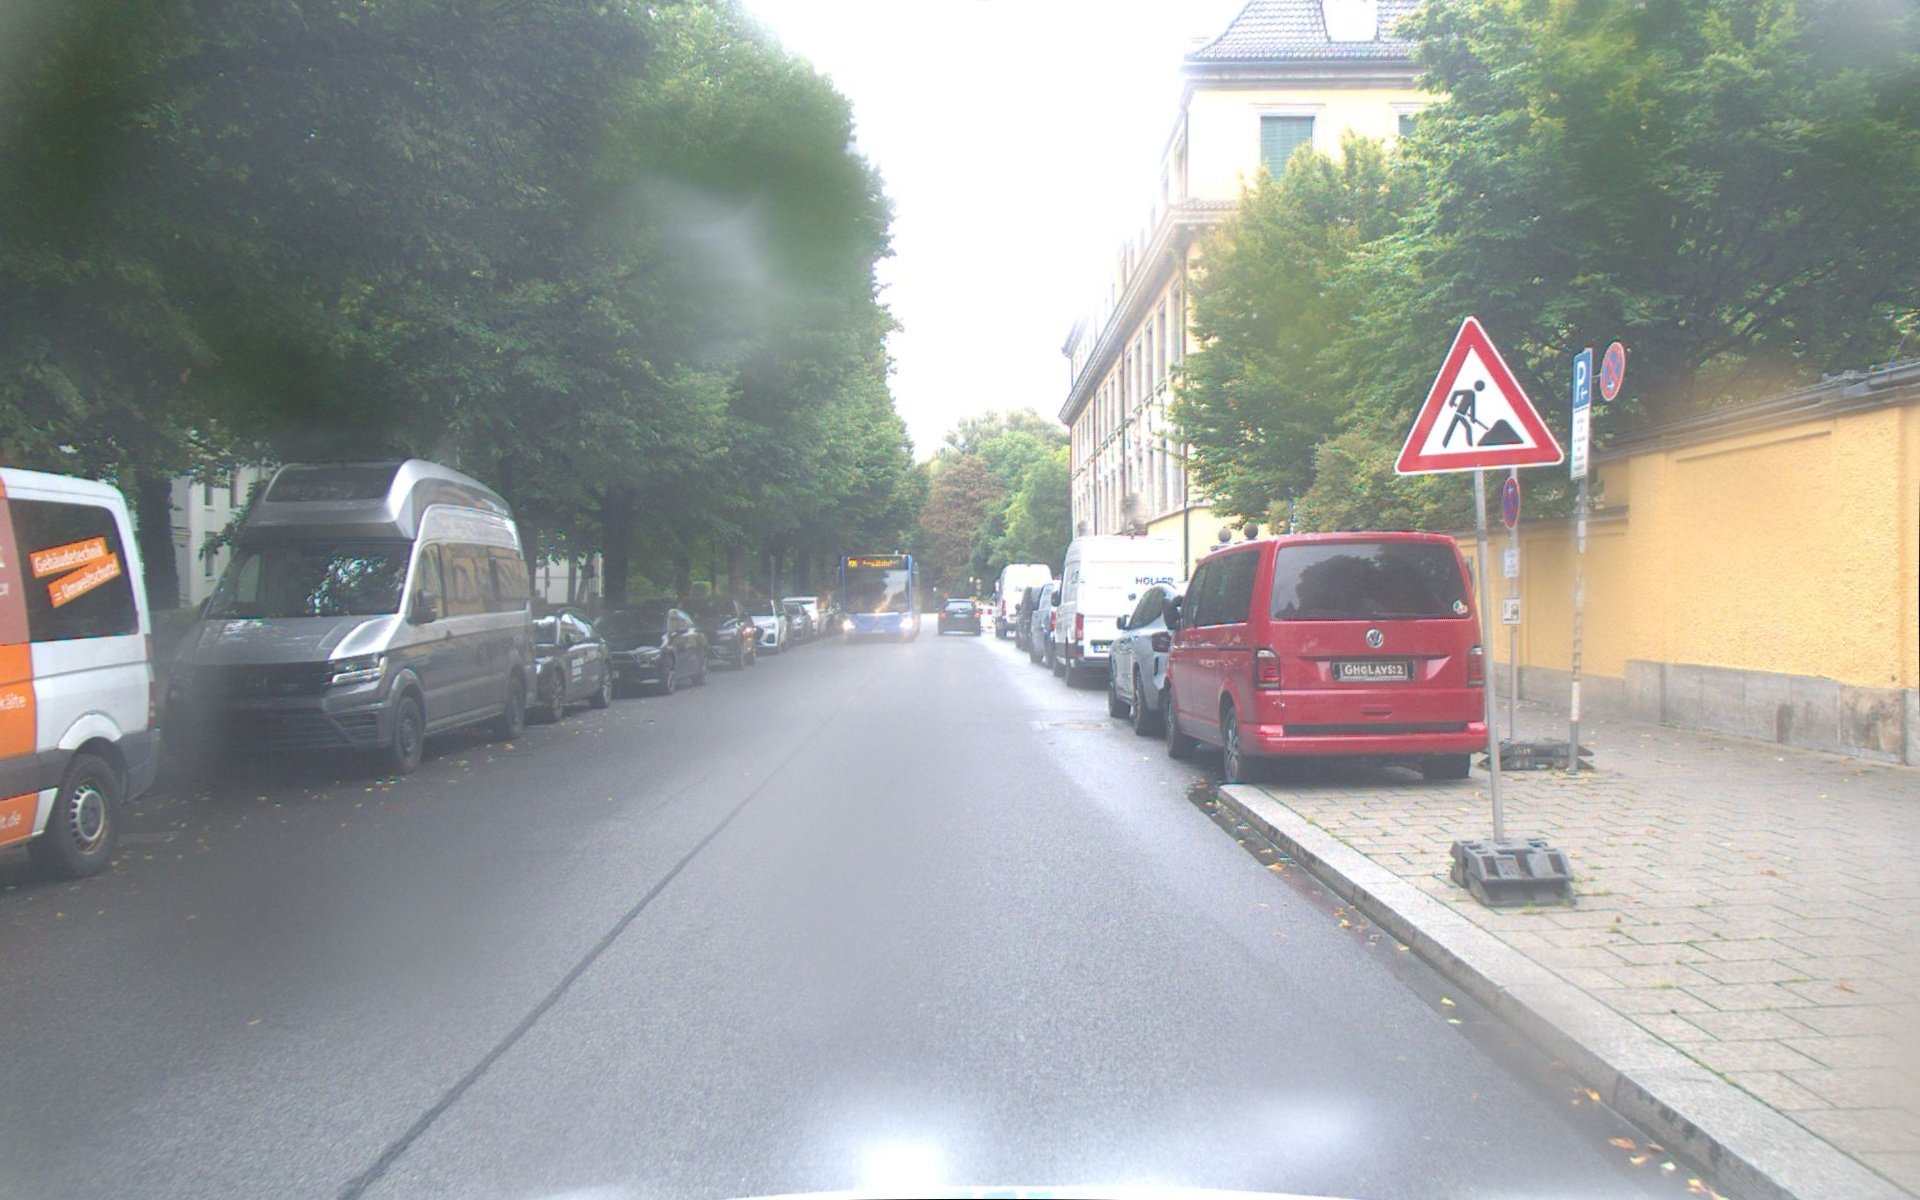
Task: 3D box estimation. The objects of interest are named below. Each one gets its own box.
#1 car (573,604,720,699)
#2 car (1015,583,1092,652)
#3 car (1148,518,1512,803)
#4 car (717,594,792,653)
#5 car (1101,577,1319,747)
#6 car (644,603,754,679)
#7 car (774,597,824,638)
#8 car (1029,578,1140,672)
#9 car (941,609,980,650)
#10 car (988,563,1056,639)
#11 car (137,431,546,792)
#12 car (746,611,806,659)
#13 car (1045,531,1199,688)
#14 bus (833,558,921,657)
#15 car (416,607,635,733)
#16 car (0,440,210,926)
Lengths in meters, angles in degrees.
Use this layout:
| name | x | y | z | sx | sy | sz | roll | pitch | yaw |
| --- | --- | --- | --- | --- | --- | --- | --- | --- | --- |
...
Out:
| name | x | y | z | sx | sy | sz | roll | pitch | yaw |
| --- | --- | --- | --- | --- | --- | --- | --- | --- | --- |
| car | -5.257 | 0.852 | 28.246 | 1.754 | 1.463 | 4.549 | -1 | -1 | -2 |
| car | 2.695 | 0.516 | 48.709 | 1.833 | 1.902 | 4.984 | -1 | 0 | -2 |
| car | 2.950 | 0.474 | 14.520 | 1.821 | 2.002 | 5.442 | -1 | -1 | -2 |
| car | -5.958 | 0.666 | 48.341 | 1.748 | 1.625 | 4.582 | -1 | 0 | -2 |
| car | 2.823 | 0.657 | 19.668 | 1.821 | 1.772 | 4.601 | 1 | 0 | -1 |
| car | -5.364 | 0.840 | 34.413 | 1.754 | 1.479 | 3.947 | -1 | -1 | -2 |
| car | -6.185 | 0.678 | 63.898 | 1.638 | 1.495 | 4.102 | -1 | 0 | -2 |
| car | 2.712 | 0.533 | 37.251 | 1.973 | 1.940 | 5.162 | 1 | 0 | -2 |
| car | 0.040 | 1.201 | 67.817 | 1.545 | 1.611 | 4.044 | -1 | 0 | 0 |
| car | 2.285 | 0.066 | 62.887 | 2.013 | 2.720 | 7.611 | -1 | 0 | -2 |
| car | -5.804 | 0.139 | 16.551 | 1.906 | 2.904 | 6.233 | -1 | -1 | -2 |
| car | -6.039 | 1.122 | 54.543 | 1.638 | 1.495 | 4.102 | -1 | 0 | -2 |
| car | 2.802 | 0.201 | 29.935 | 2.053 | 2.531 | 5.737 | -1 | -1 | -2 |
| bus | -3.000 | 0.403 | 64.627 | 2.801 | 3.296 | 18.420 | -1 | -1 | -1 |
| car | -5.830 | 0.870 | 22.759 | 1.753 | 1.463 | 4.578 | -1 | 1 | 0 |
| car | -5.758 | 0.414 | 7.841 | 2.071 | 2.390 | 5.406 | -1 | -1 | -2 |
